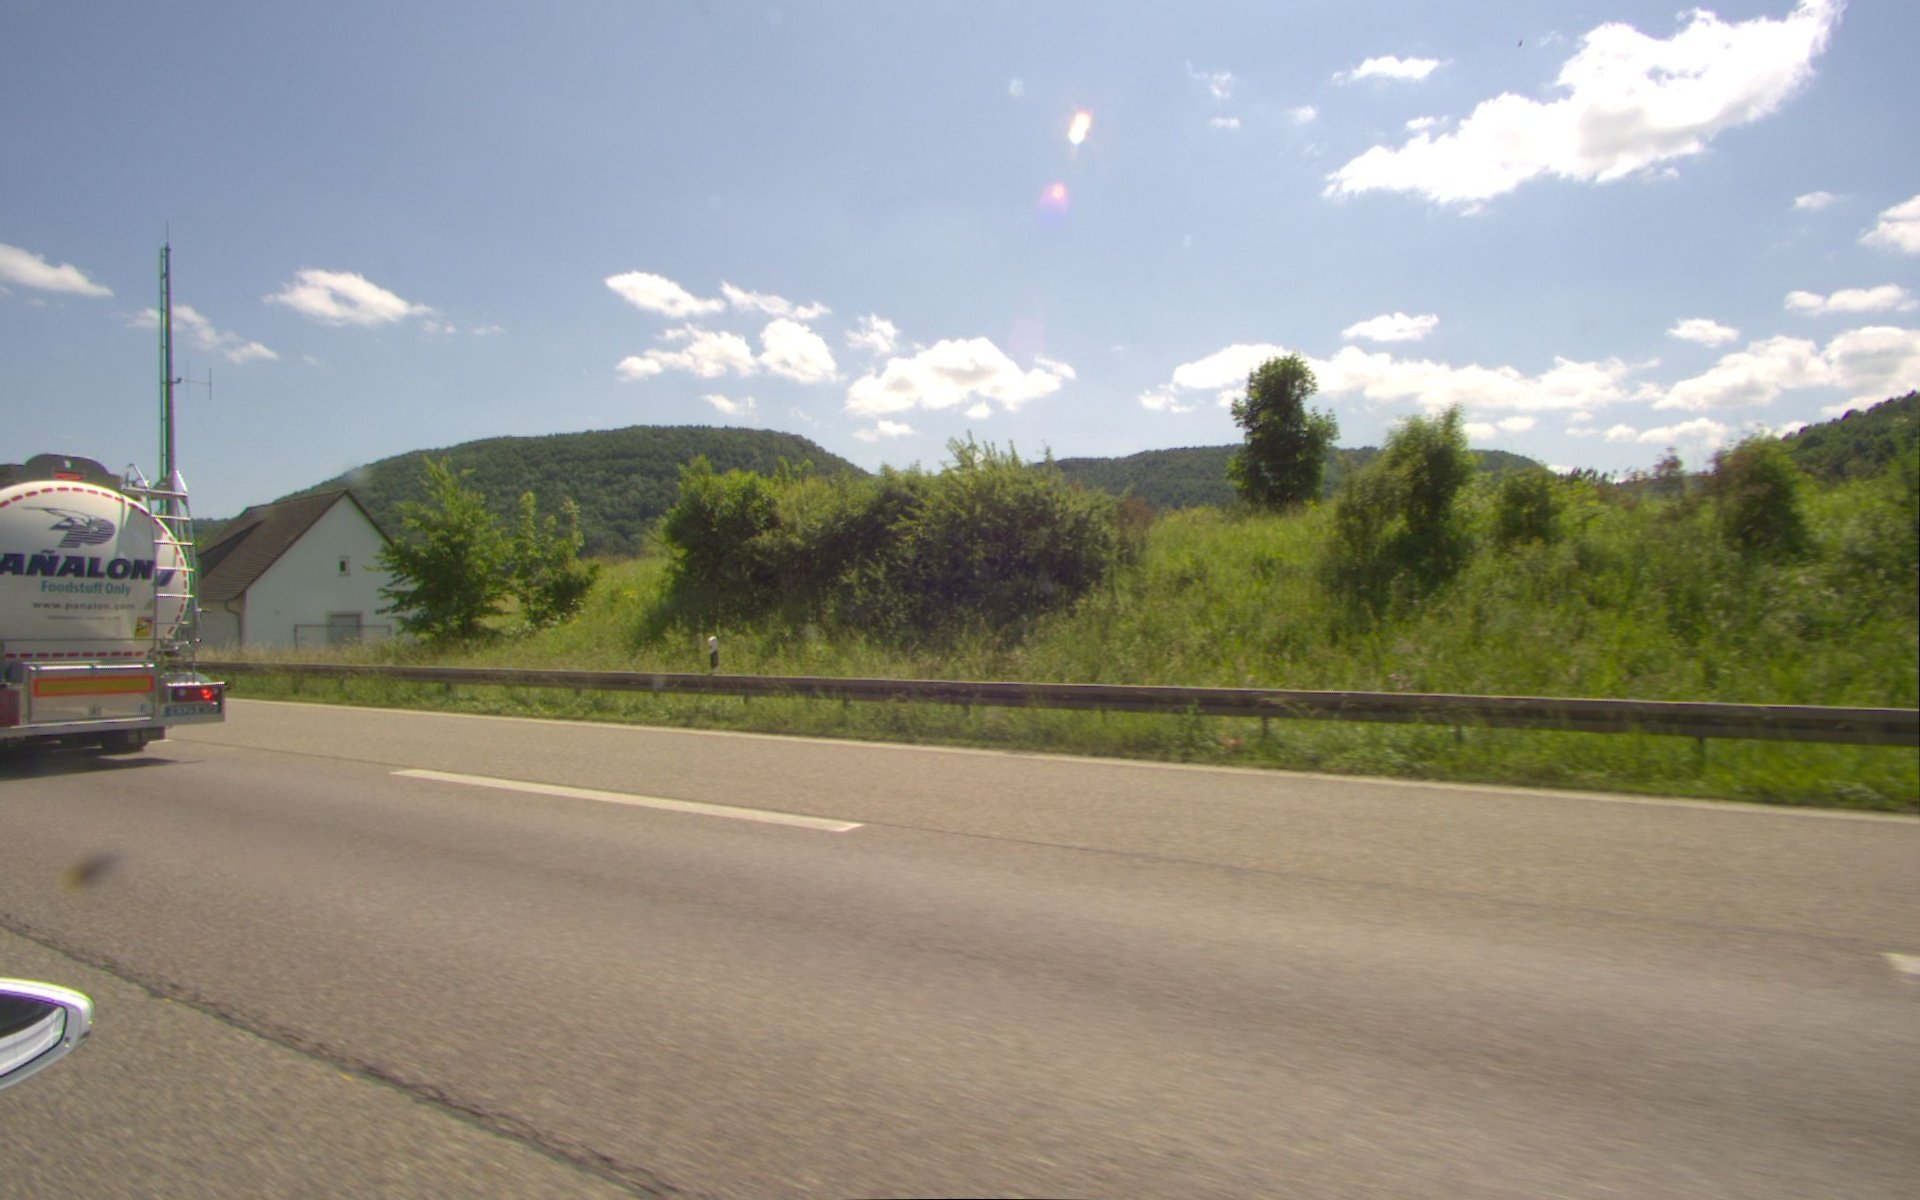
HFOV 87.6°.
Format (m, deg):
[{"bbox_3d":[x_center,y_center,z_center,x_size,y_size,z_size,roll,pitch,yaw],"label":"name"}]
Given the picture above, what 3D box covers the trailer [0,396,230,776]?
[{"bbox_3d":[-14.190,-0.023,13.665,11.718,3.783,2.534,-1,-1,31],"label":"trailer"}]
